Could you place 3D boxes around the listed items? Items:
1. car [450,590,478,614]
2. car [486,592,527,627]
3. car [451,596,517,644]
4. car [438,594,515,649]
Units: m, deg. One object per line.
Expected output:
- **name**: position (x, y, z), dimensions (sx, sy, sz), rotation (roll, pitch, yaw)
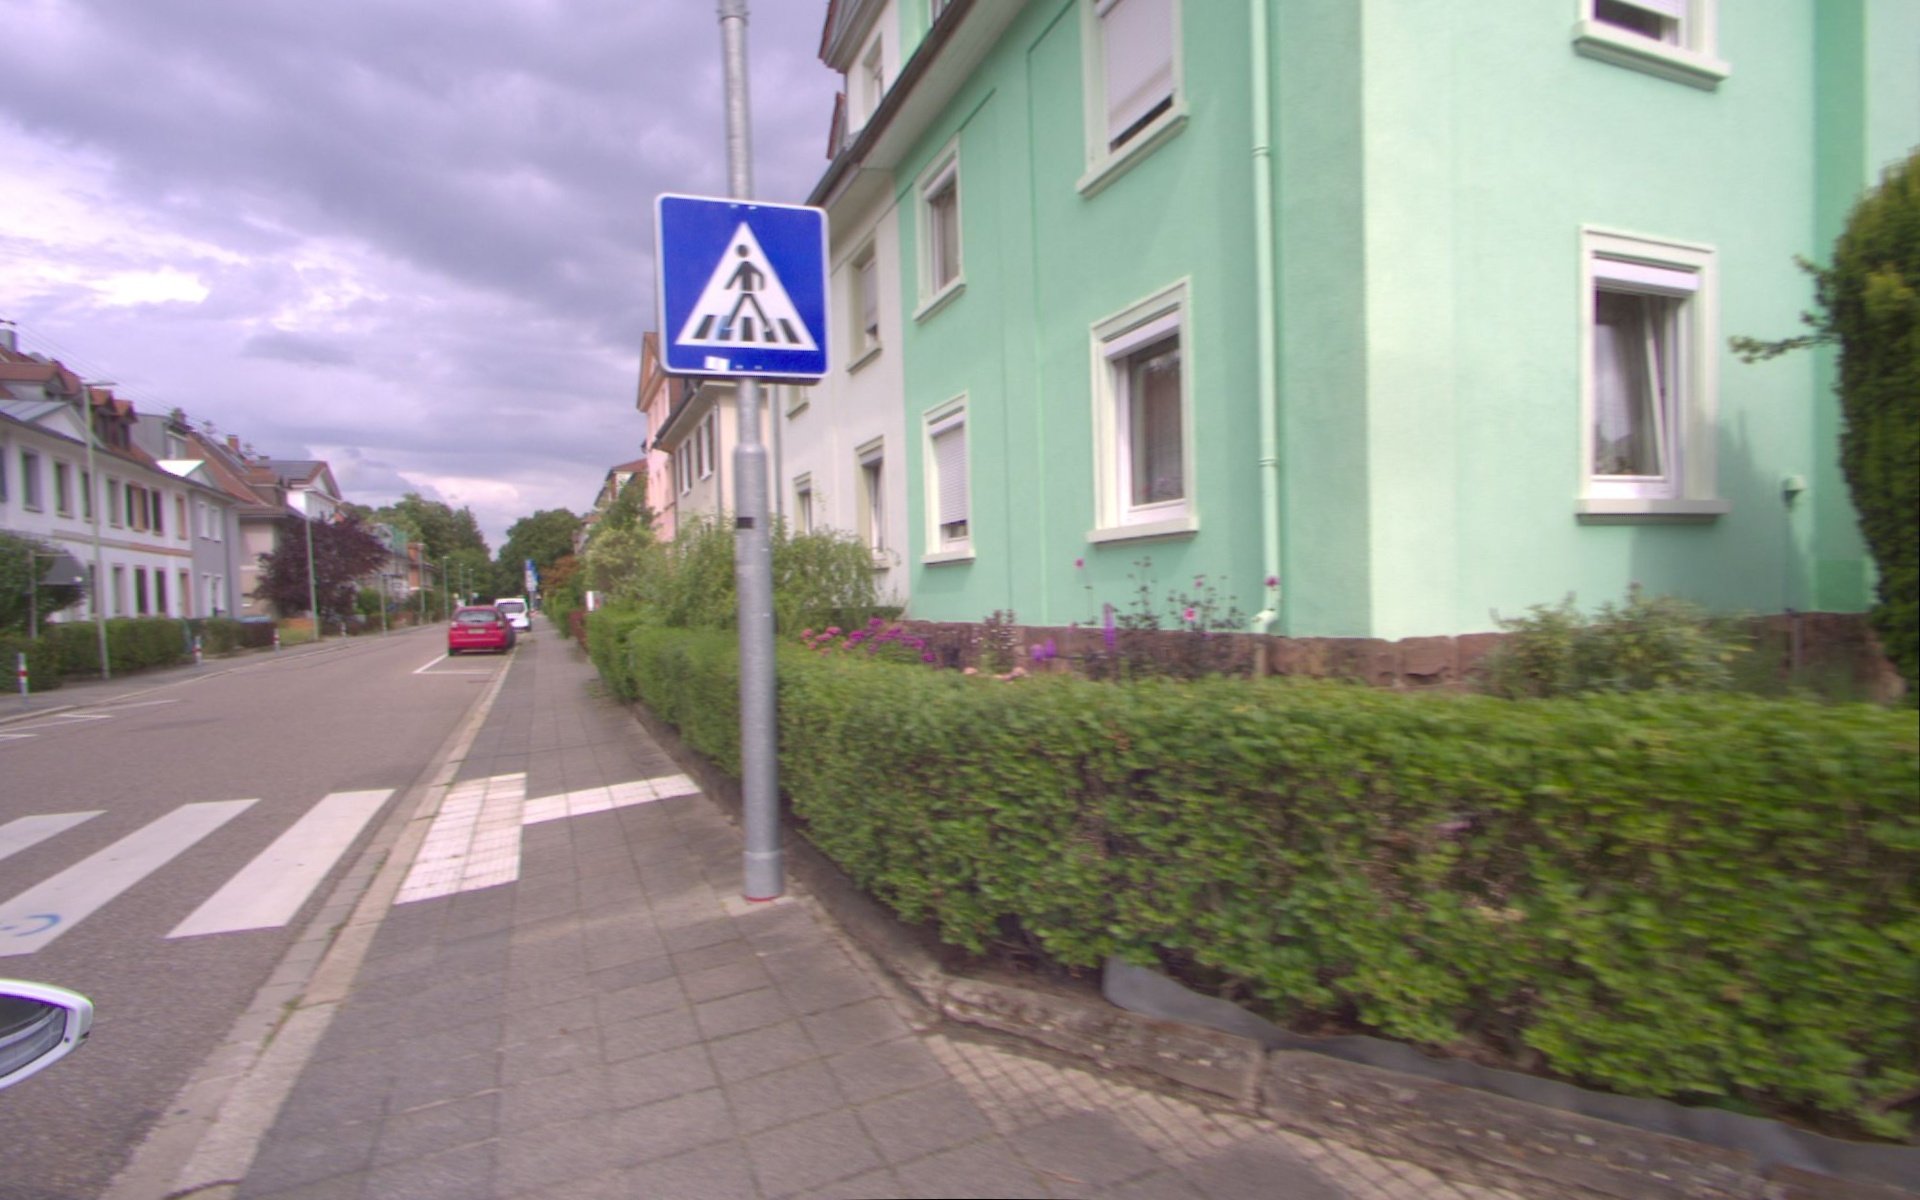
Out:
- **car**: position (-46.046, 0.171, 92.989), dimensions (1.967, 2.041, 3.986), rotation (-2, 1, -23)
- **car**: position (-26.292, 0.515, 58.129), dimensions (1.967, 1.929, 3.986), rotation (-2, 1, -23)
- **car**: position (-17.534, 0.694, 37.006), dimensions (1.967, 1.595, 3.986), rotation (-2, 1, -23)
- **car**: position (-15.485, 0.642, 32.219), dimensions (1.967, 1.595, 3.986), rotation (-2, 1, -23)
